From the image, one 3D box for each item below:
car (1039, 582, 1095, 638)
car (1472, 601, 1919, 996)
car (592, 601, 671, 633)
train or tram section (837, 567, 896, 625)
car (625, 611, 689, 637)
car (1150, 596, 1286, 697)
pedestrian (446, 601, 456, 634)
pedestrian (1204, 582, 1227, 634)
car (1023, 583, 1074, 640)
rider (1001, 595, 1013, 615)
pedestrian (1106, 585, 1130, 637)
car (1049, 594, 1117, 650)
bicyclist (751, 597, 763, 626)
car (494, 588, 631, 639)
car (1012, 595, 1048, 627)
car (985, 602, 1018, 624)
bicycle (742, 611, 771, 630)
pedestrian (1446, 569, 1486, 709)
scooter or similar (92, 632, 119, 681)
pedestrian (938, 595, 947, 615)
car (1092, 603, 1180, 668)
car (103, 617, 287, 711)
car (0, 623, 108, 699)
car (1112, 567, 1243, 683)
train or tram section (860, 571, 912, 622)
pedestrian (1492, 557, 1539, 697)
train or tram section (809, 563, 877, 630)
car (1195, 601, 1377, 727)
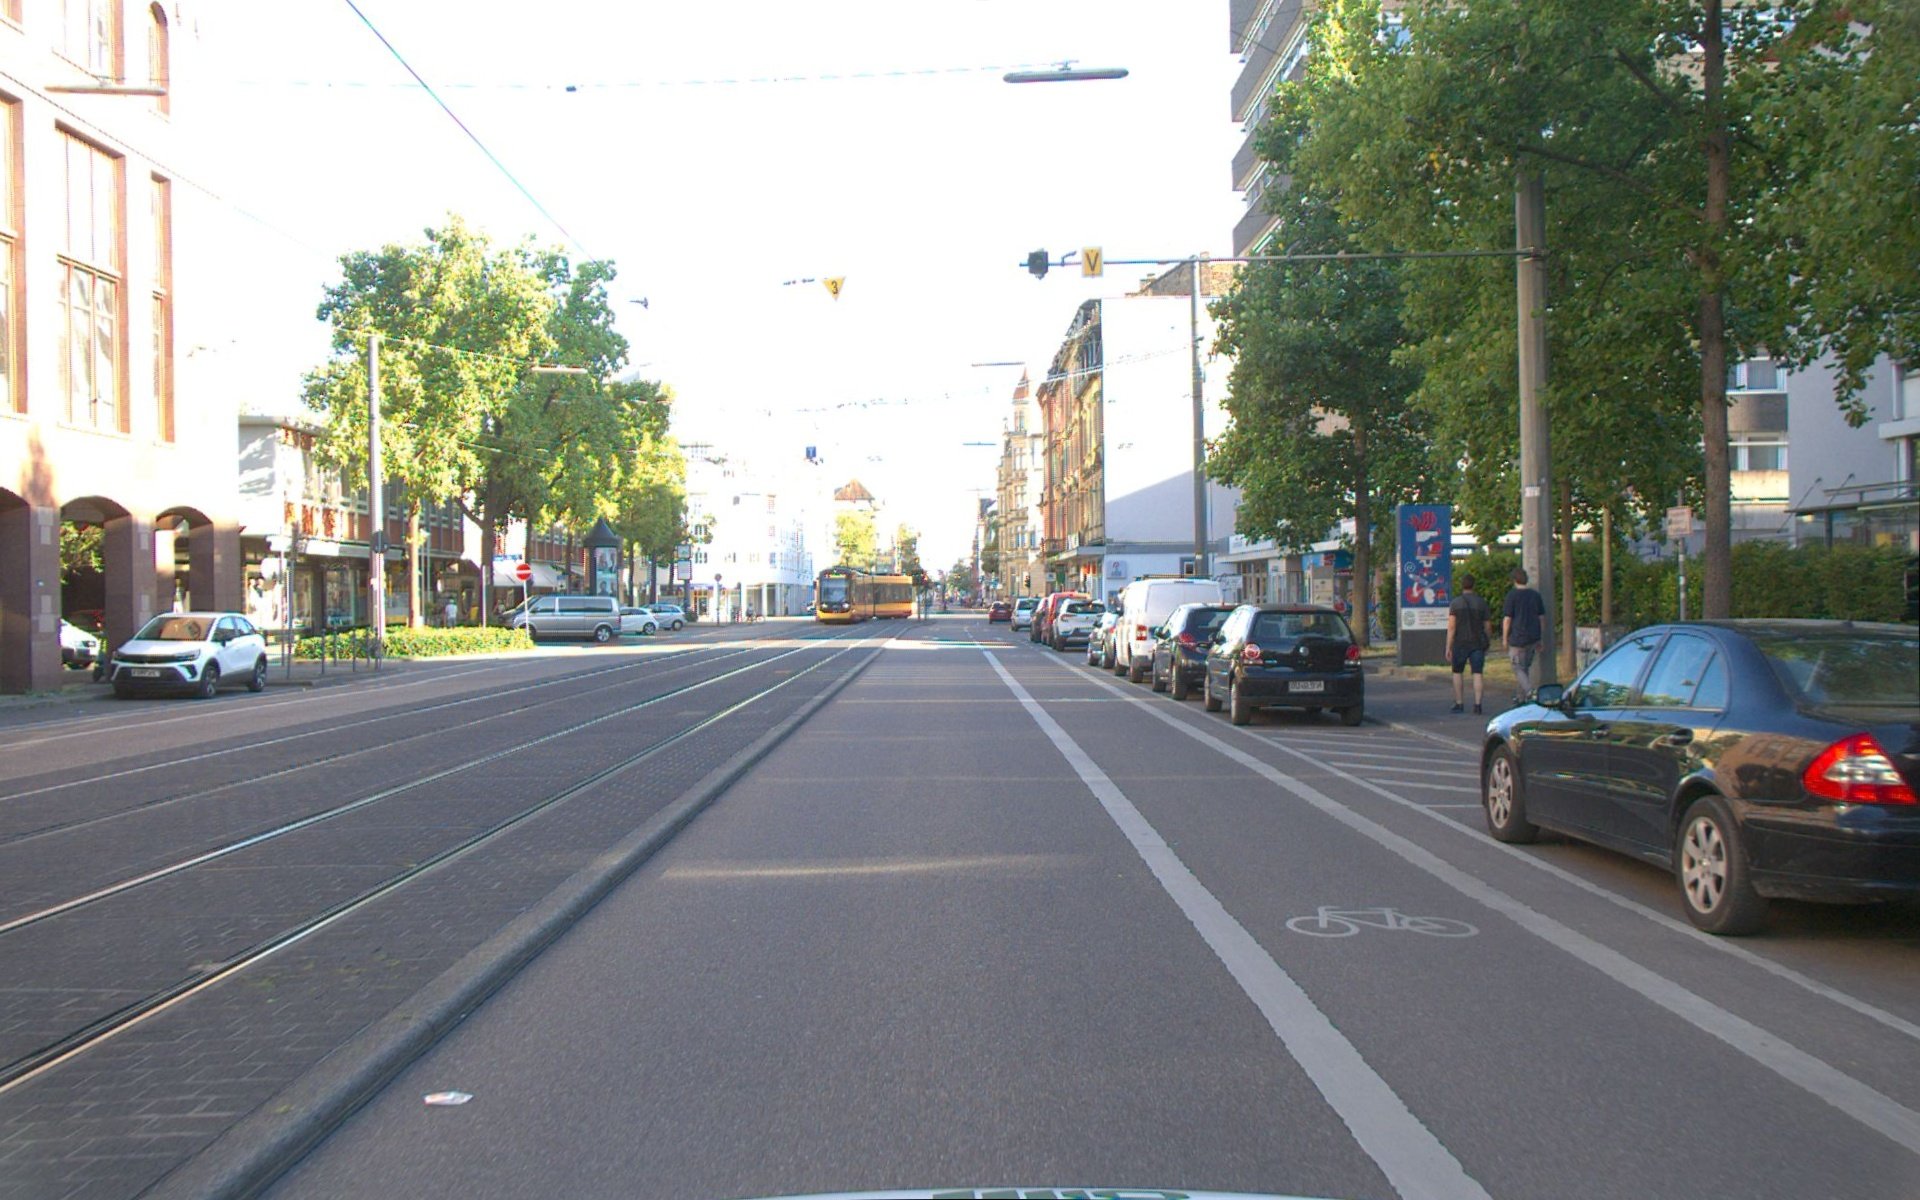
[{"bbox_3d":[3.681,0.321,57.609,1.588,1.845,4.082,1,0,-1],"label":"car"},{"bbox_3d":[4.364,0.794,8.942,1.681,1.452,4.674,0,1,-1],"label":"car"},{"bbox_3d":[-17.806,0.912,89.768,3.831,1.656,1.855,1,0,-32],"label":"car"},{"bbox_3d":[-6.632,-0.309,119.636,2.635,3.946,12.850,1,0,4],"label":"train or tram section"},{"bbox_3d":[-18.293,1.429,100.029,3.487,1.507,1.564,1,0,-33],"label":"car"},{"bbox_3d":[4.120,0.694,26.933,1.588,1.499,3.970,0,0,0],"label":"car"},{"bbox_3d":[-20.856,0.713,67.797,0.357,1.367,0.480,1,0,-21],"label":"pedestrian"},{"bbox_3d":[8.702,0.275,56.415,0.647,1.752,0.835,-1,0,0],"label":"pedestrian"},{"bbox_3d":[3.278,0.403,61.718,1.588,2.041,3.830,1,0,-1],"label":"car"},{"bbox_3d":[3.656,0.382,128.339,0.698,1.507,0.884,1,0,-11],"label":"rider"},{"bbox_3d":[5.411,0.371,56.713,0.715,1.752,0.835,-1,0,0],"label":"pedestrian"},{"bbox_3d":[3.787,0.646,51.369,1.688,1.595,4.082,-2,0,-1],"label":"car"},{"bbox_3d":[-14.637,0.851,119.258,0.706,2.049,0.701,1,0,6],"label":"bicyclist"},{"bbox_3d":[-16.930,0.626,70.499,5.203,2.078,2.391,1,-2,-33],"label":"car"},{"bbox_3d":[3.530,0.530,84.129,1.588,1.582,4.082,1,0,-1],"label":"car"},{"bbox_3d":[2.742,0.871,111.081,2.023,1.413,4.224,1,0,-1],"label":"car"},{"bbox_3d":[-14.680,1.480,119.271,1.977,1.261,0.701,1,0,6],"label":"bicycle"},{"bbox_3d":[6.475,0.493,21.169,0.417,1.739,0.454,-2,2,18],"label":"pedestrian"},{"bbox_3d":[-17.420,1.147,33.721,0.357,0.955,0.967,1,0,-20],"label":"scooter or similar"},{"bbox_3d":[-1.804,0.505,173.971,0.901,2.049,0.759,1,0,-1],"label":"pedestrian"},{"bbox_3d":[4.101,0.803,39.064,1.588,1.394,3.930,1,0,-1],"label":"car"},{"bbox_3d":[-14.945,1.201,32.562,1.832,1.628,4.251,-1,1,-3],"label":"car"},{"bbox_3d":[-27.138,1.737,46.898,4.831,2.028,2.146,-1,0,-12],"label":"car"},{"bbox_3d":[4.219,0.447,32.762,1.931,2.049,4.558,-2,0,0],"label":"car"},{"bbox_3d":[-5.819,-0.312,131.612,2.635,3.818,11.295,1,0,5],"label":"train or tram section"},{"bbox_3d":[7.053,0.338,21.008,0.488,1.739,0.454,-2,2,18],"label":"pedestrian"},{"bbox_3d":[-7.461,-0.253,107.156,2.635,4.029,12.096,1,0,4],"label":"train or tram section"},{"bbox_3d":[4.165,0.760,21.656,1.588,1.456,3.984,0,0,0],"label":"car"}]
